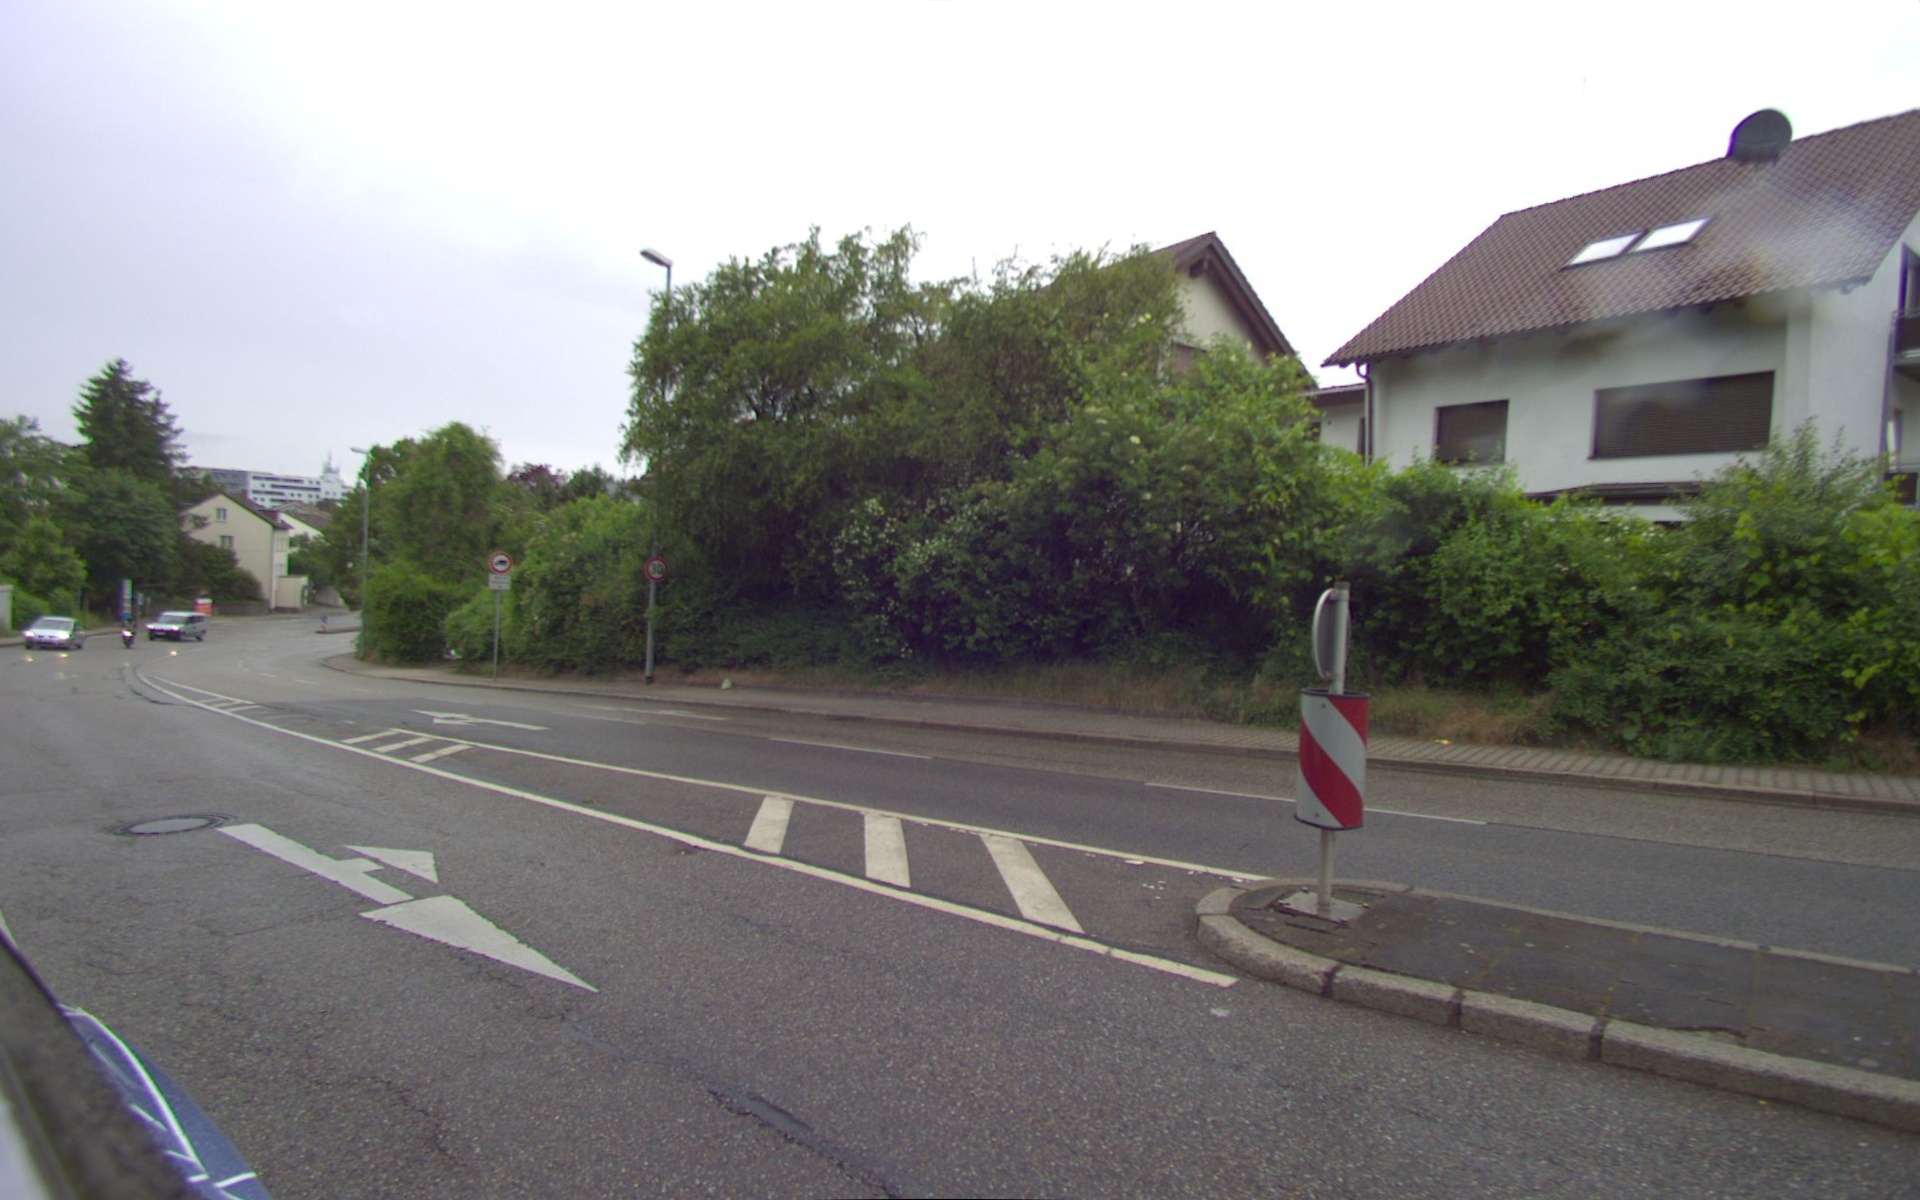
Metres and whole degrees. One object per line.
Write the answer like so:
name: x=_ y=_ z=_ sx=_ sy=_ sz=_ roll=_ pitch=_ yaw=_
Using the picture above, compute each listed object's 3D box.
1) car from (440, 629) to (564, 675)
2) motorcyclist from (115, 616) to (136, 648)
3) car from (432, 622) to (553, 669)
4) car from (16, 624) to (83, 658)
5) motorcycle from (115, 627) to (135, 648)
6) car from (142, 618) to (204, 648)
car: x=-17.174 y=1.908 z=38.012 sx=3.853 sy=1.451 sz=1.814 roll=-3 pitch=1 yaw=-41
motorcyclist: x=-44.556 y=1.724 z=54.040 sx=0.755 sy=1.655 sz=0.676 roll=5 pitch=-4 yaw=-39
car: x=-18.670 y=1.776 z=40.452 sx=3.939 sy=1.548 sz=2.003 roll=-3 pitch=1 yaw=-42
car: x=-43.987 y=1.963 z=48.972 sx=1.789 sy=1.450 sz=4.010 roll=6 pitch=-4 yaw=-34
motorcycle: x=-44.589 y=2.001 z=54.046 sx=0.682 sy=1.061 sz=1.751 roll=5 pitch=-3 yaw=-37
car: x=-50.486 y=2.148 z=65.031 sx=1.748 sy=1.788 sz=4.012 roll=4 pitch=-4 yaw=-18
